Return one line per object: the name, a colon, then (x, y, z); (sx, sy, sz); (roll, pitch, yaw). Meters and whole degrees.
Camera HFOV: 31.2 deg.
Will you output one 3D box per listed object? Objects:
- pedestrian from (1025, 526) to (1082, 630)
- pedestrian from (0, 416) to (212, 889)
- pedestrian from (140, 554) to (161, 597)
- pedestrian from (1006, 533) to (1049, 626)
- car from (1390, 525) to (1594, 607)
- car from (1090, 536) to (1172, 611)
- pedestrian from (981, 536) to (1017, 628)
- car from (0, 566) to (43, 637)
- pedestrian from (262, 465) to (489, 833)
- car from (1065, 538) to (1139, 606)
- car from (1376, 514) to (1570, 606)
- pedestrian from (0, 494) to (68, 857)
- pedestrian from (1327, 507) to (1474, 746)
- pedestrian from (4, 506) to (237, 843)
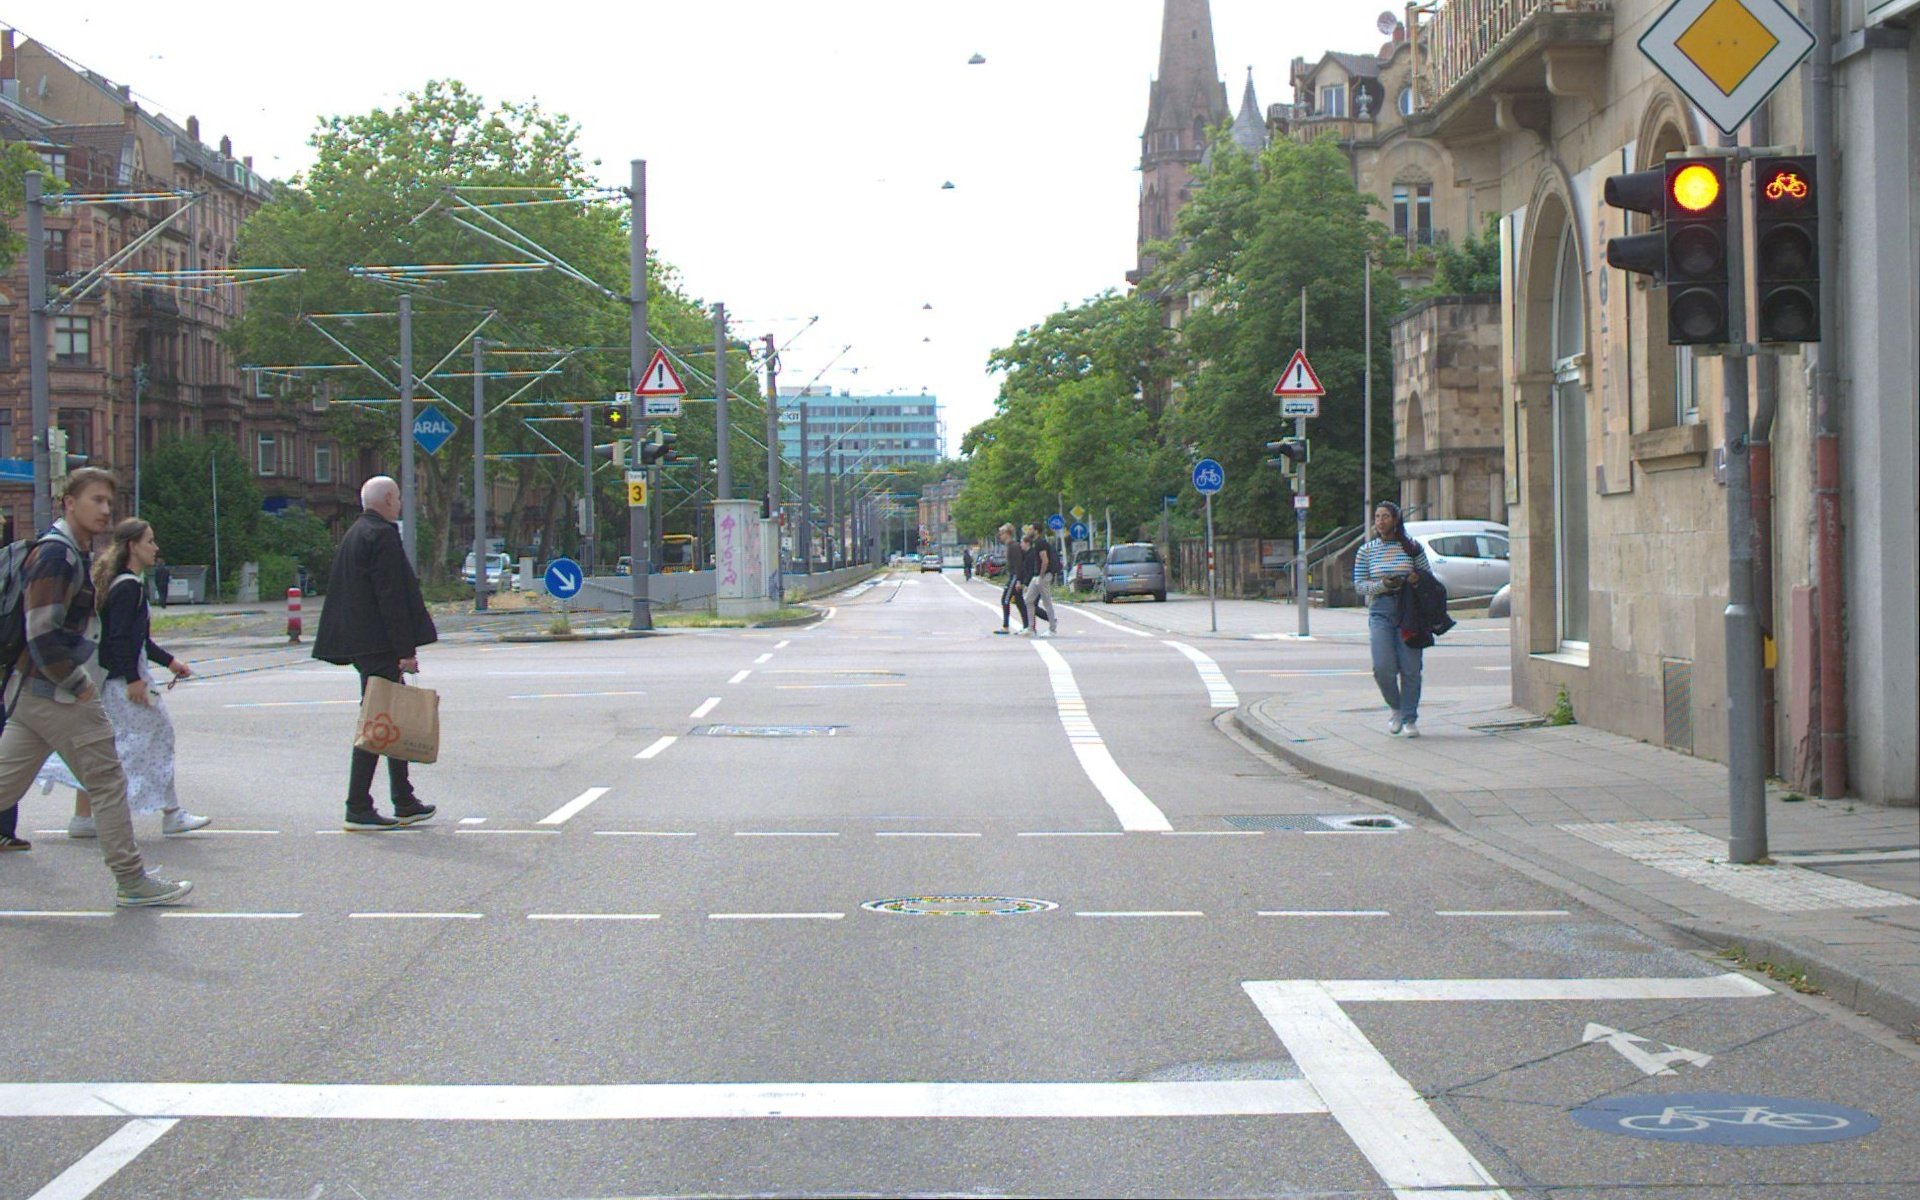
pedestrian: (1.496, -0.352, 55.113); (0.850, 1.648, 0.508); (1, 0, -2)
pedestrian: (-3.491, 0.194, 13.237); (1.130, 1.772, 0.628); (0, 0, -18)
pedestrian: (-27.222, -0.824, 115.571); (0.452, 1.455, 0.524); (1, 1, 45)
pedestrian: (1.121, -0.336, 56.879); (0.653, 1.531, 0.466); (1, 0, -5)
car: (10.766, -0.688, 69.774); (3.799, 1.595, 2.000); (1, 1, 0)
car: (4.702, -0.731, 95.034); (1.993, 2.007, 4.000); (1, 1, -1)
pedestrian: (0.653, -0.302, 57.372); (0.545, 1.531, 0.466); (1, 0, -5)
car: (-22.045, 0.006, 77.267); (1.894, 1.552, 3.836); (1, 1, -1)
pedestrian: (-2.917, 0.230, 17.143); (0.917, 1.778, 0.646); (1, 1, 37)
car: (4.304, -0.850, 104.542); (1.993, 2.007, 4.000); (1, 1, -1)
car: (10.892, -0.851, 73.183); (3.799, 1.897, 2.000); (1, 1, 0)
pedestrian: (-4.663, 0.339, 15.663); (0.627, 1.647, 0.995); (1, 1, 30)
pedestrian: (3.163, 0.179, 24.668); (0.671, 1.674, 0.866); (1, 1, 38)
pedestrian: (-4.076, 0.344, 16.711); (0.702, 1.587, 0.829); (1, 1, 37)
